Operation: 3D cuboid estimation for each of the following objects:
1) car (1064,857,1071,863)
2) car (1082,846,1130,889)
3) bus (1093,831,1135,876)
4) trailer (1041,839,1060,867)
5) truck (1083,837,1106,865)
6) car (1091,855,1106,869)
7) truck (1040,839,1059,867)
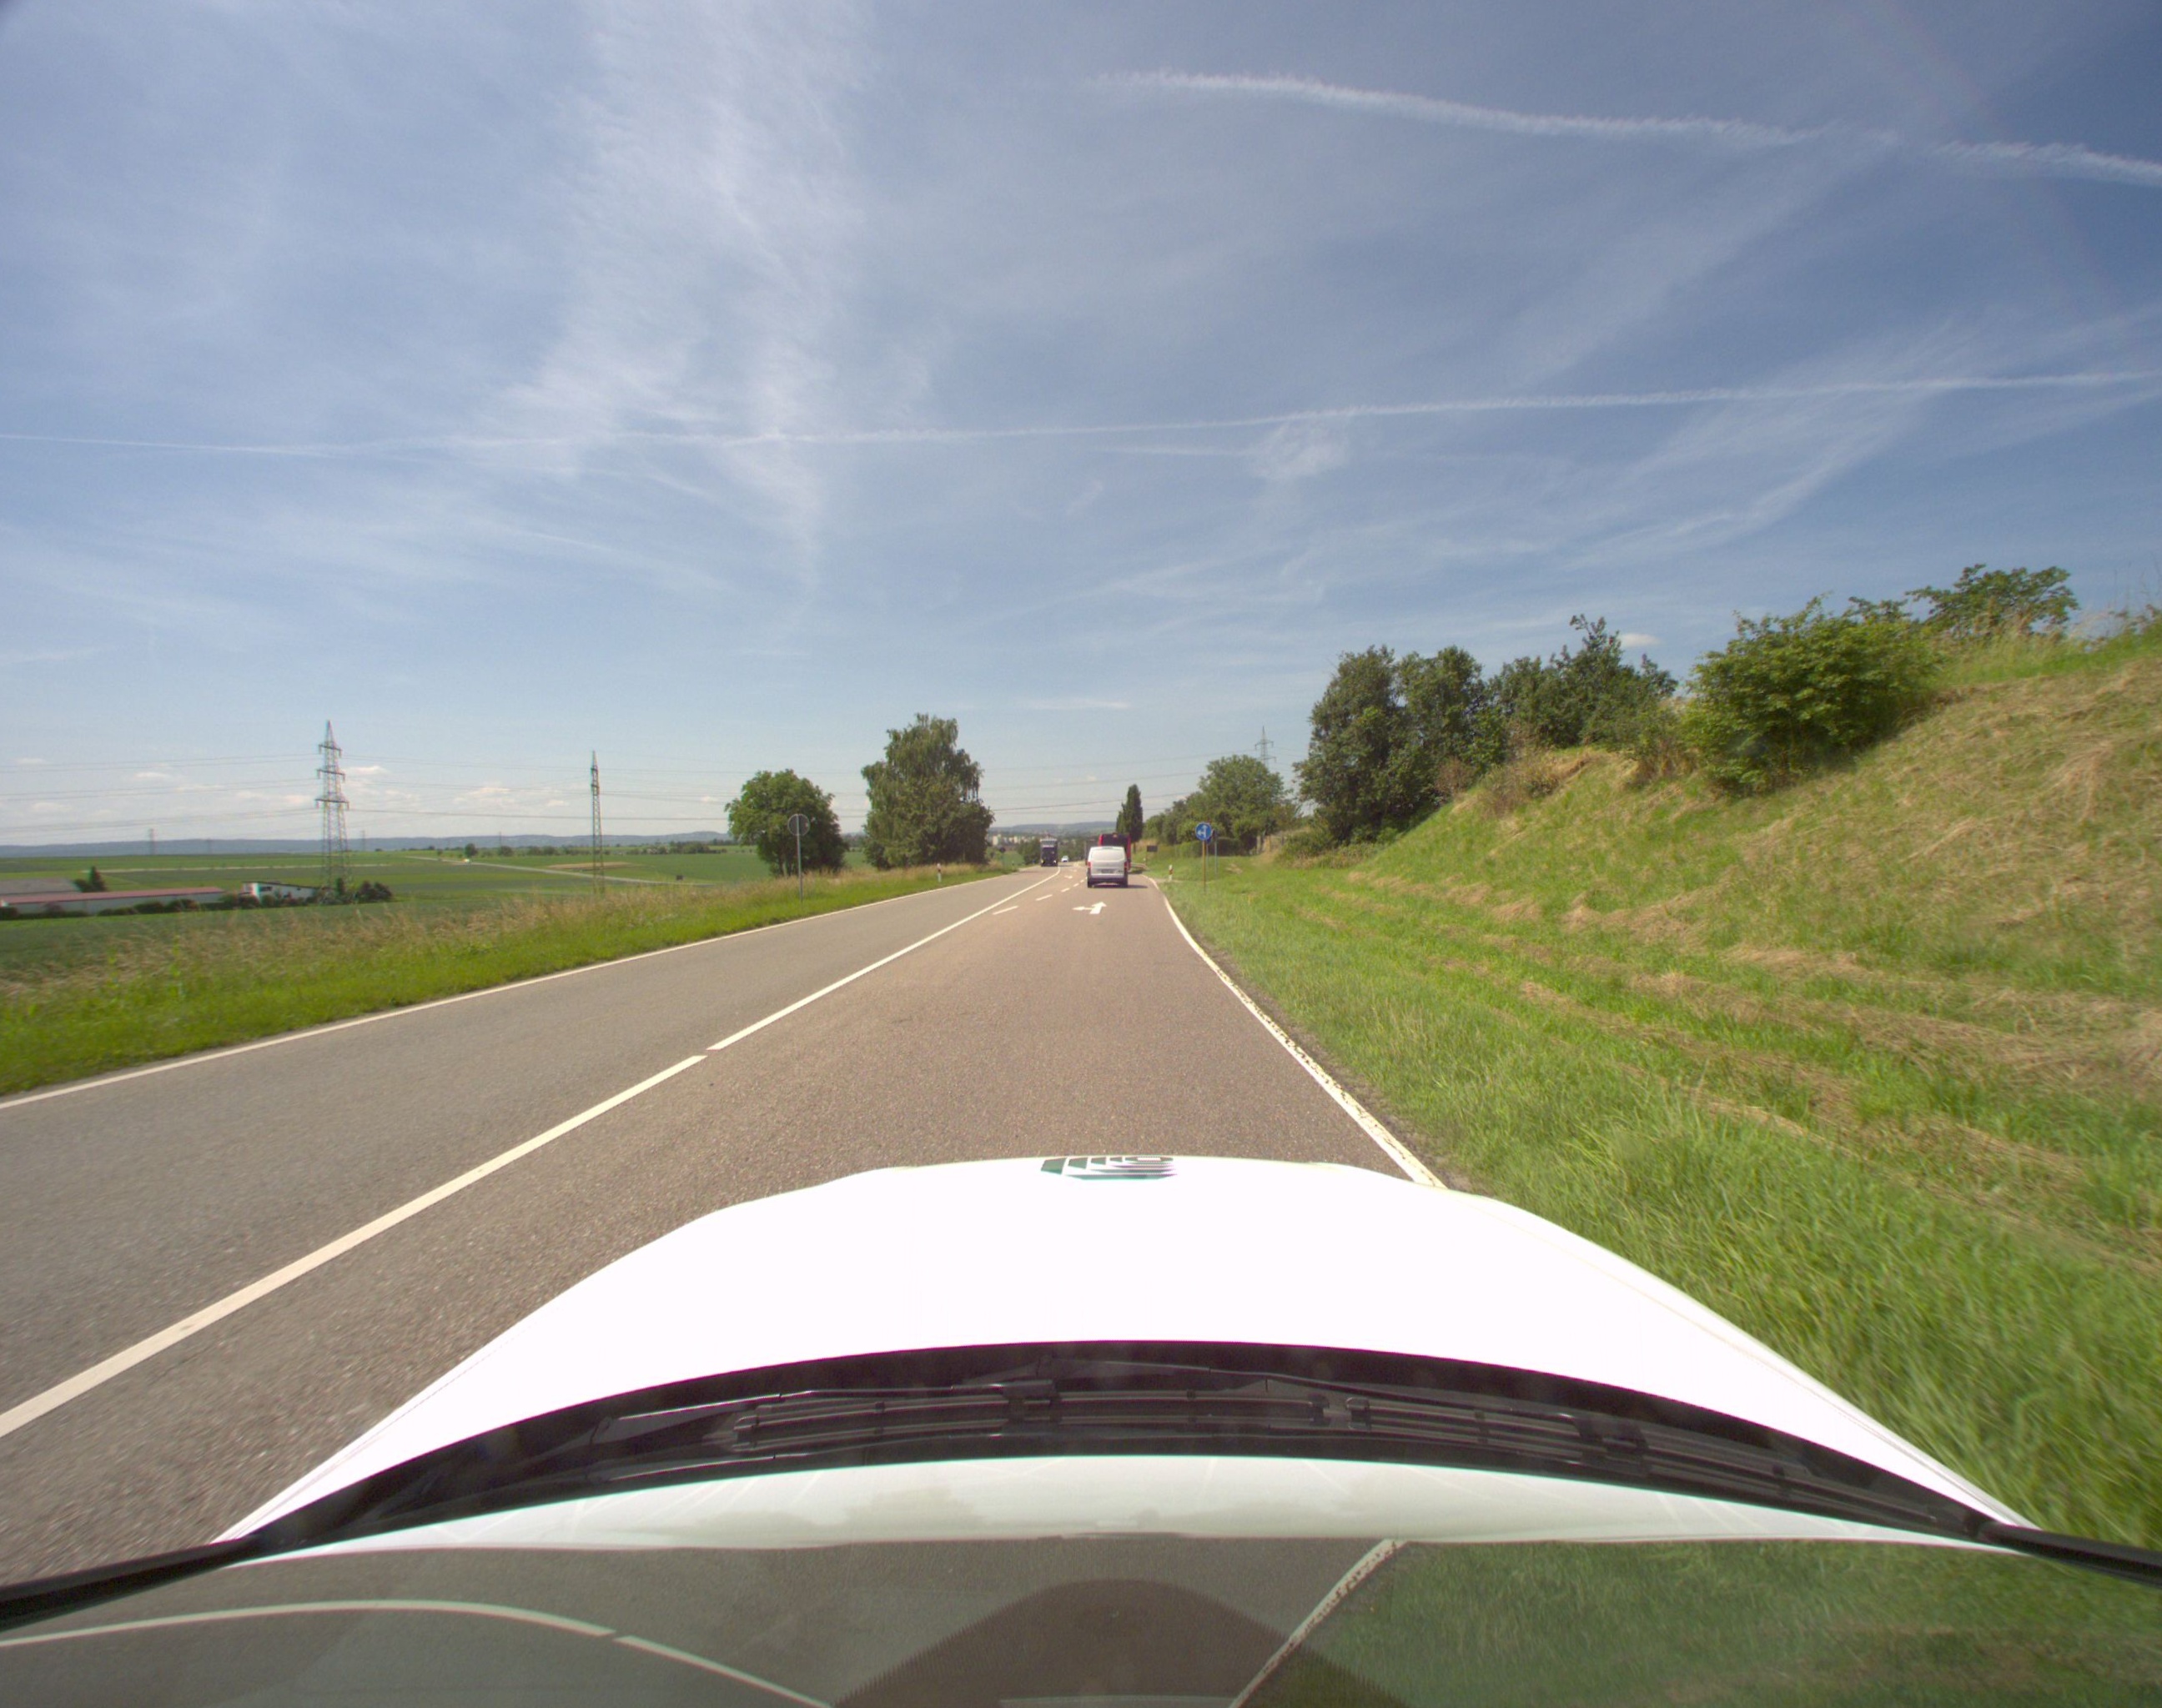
[{"bbox_3d":[-3.815,1.642,228.748,1.847,1.565,4.074,-2,0,0],"label":"car"},{"bbox_3d":[1.254,0.592,38.432,1.914,1.889,4.007,-2,0,6],"label":"car"},{"bbox_3d":[2.717,-0.207,70.536,2.739,3.353,13.218,-3,1,-1],"label":"bus"},{"bbox_3d":[-4.738,-0.158,129.235,2.585,4.143,13.736,-1,0,0],"label":"trailer"},{"bbox_3d":[2.243,-0.447,138.025,3.476,4.423,14.903,-2,0,1],"label":"truck"},{"bbox_3d":[2.386,1.128,110.949,1.878,1.817,3.766,-2,0,2],"label":"car"},{"bbox_3d":[-4.702,-0.187,122.250,2.577,4.104,5.440,-1,0,-1],"label":"truck"}]
